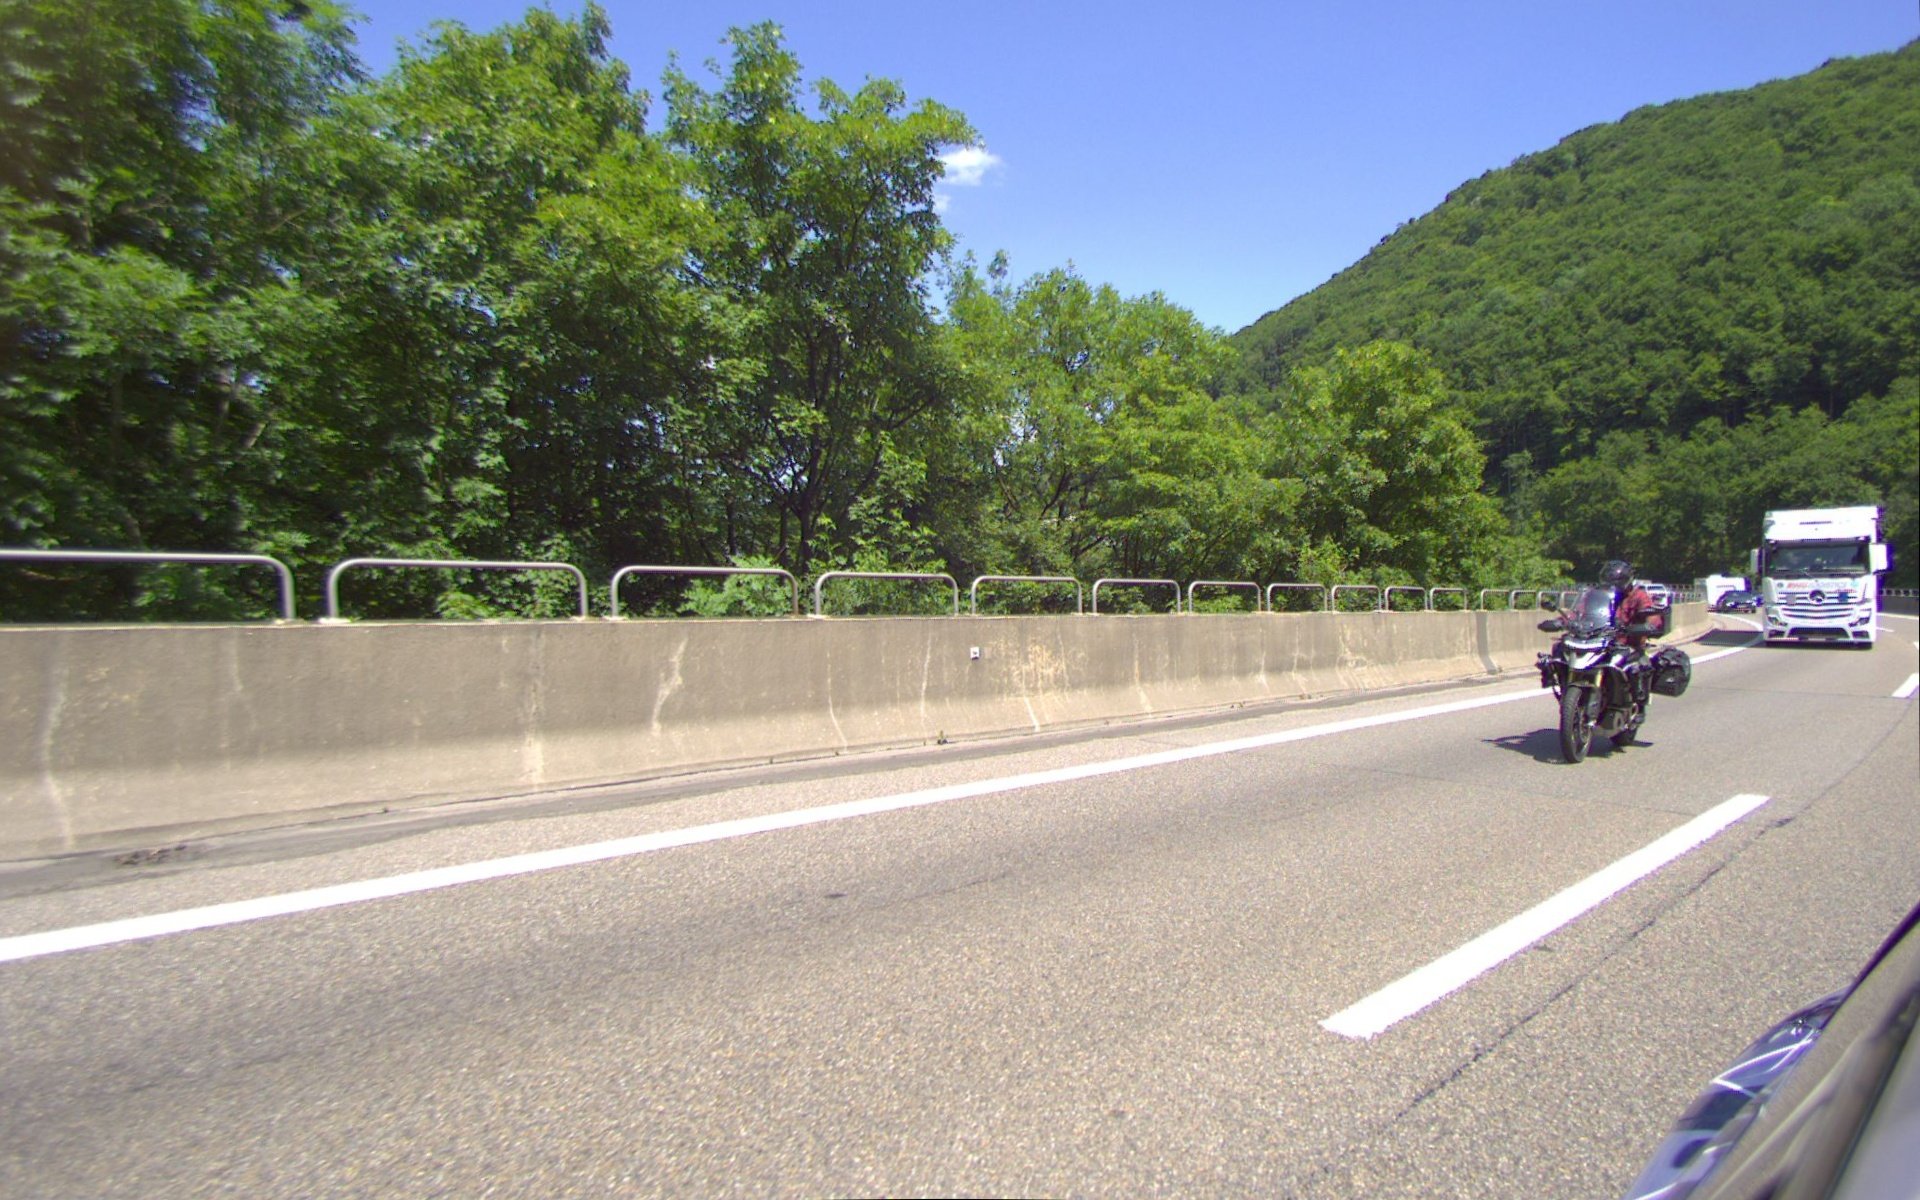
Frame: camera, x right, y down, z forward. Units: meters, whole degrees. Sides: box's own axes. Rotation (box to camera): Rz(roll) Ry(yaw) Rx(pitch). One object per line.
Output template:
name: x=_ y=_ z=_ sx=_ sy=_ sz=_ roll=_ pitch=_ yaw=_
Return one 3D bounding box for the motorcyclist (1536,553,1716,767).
motorcyclist: x=6.235 y=0.502 z=9.468 sx=1.314 sy=1.823 sz=1.063 roll=0 pitch=0 yaw=-39

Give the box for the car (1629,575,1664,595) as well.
car: x=73.245 y=-1.618 z=107.990 sx=1.972 sy=2.039 sz=3.979 roll=0 pitch=1 yaw=16

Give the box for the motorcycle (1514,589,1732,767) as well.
motorcycle: x=6.269 y=0.627 z=9.493 sx=2.633 sy=1.437 sz=0.974 roll=-1 pitch=0 yaw=-40

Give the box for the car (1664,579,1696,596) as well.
car: x=81.186 y=-1.410 z=114.211 sx=1.976 sy=1.816 sz=3.972 roll=0 pitch=0 yaw=21

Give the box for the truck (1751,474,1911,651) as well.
truck: x=26.716 y=-0.973 z=31.187 sx=2.958 sy=4.185 sz=16.462 roll=0 pitch=0 yaw=41

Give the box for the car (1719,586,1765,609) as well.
car: x=55.351 y=-0.197 z=71.692 sx=1.739 sy=1.507 sz=3.947 roll=1 pitch=1 yaw=25

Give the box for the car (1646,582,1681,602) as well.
car: x=70.526 y=-0.813 z=101.476 sx=1.976 sy=2.039 sz=3.972 roll=1 pitch=1 yaw=21

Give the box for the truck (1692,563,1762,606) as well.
truck: x=57.866 y=-1.134 z=76.504 sx=2.589 sy=3.141 sz=6.801 roll=0 pitch=0 yaw=23

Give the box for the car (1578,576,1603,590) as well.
car: x=88.121 y=-2.381 z=141.494 sx=1.972 sy=1.816 sz=3.981 roll=0 pitch=0 yaw=15

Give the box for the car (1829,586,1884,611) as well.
car: x=55.703 y=-0.109 z=62.944 sx=1.741 sy=1.507 sz=3.940 roll=0 pitch=0 yaw=30
